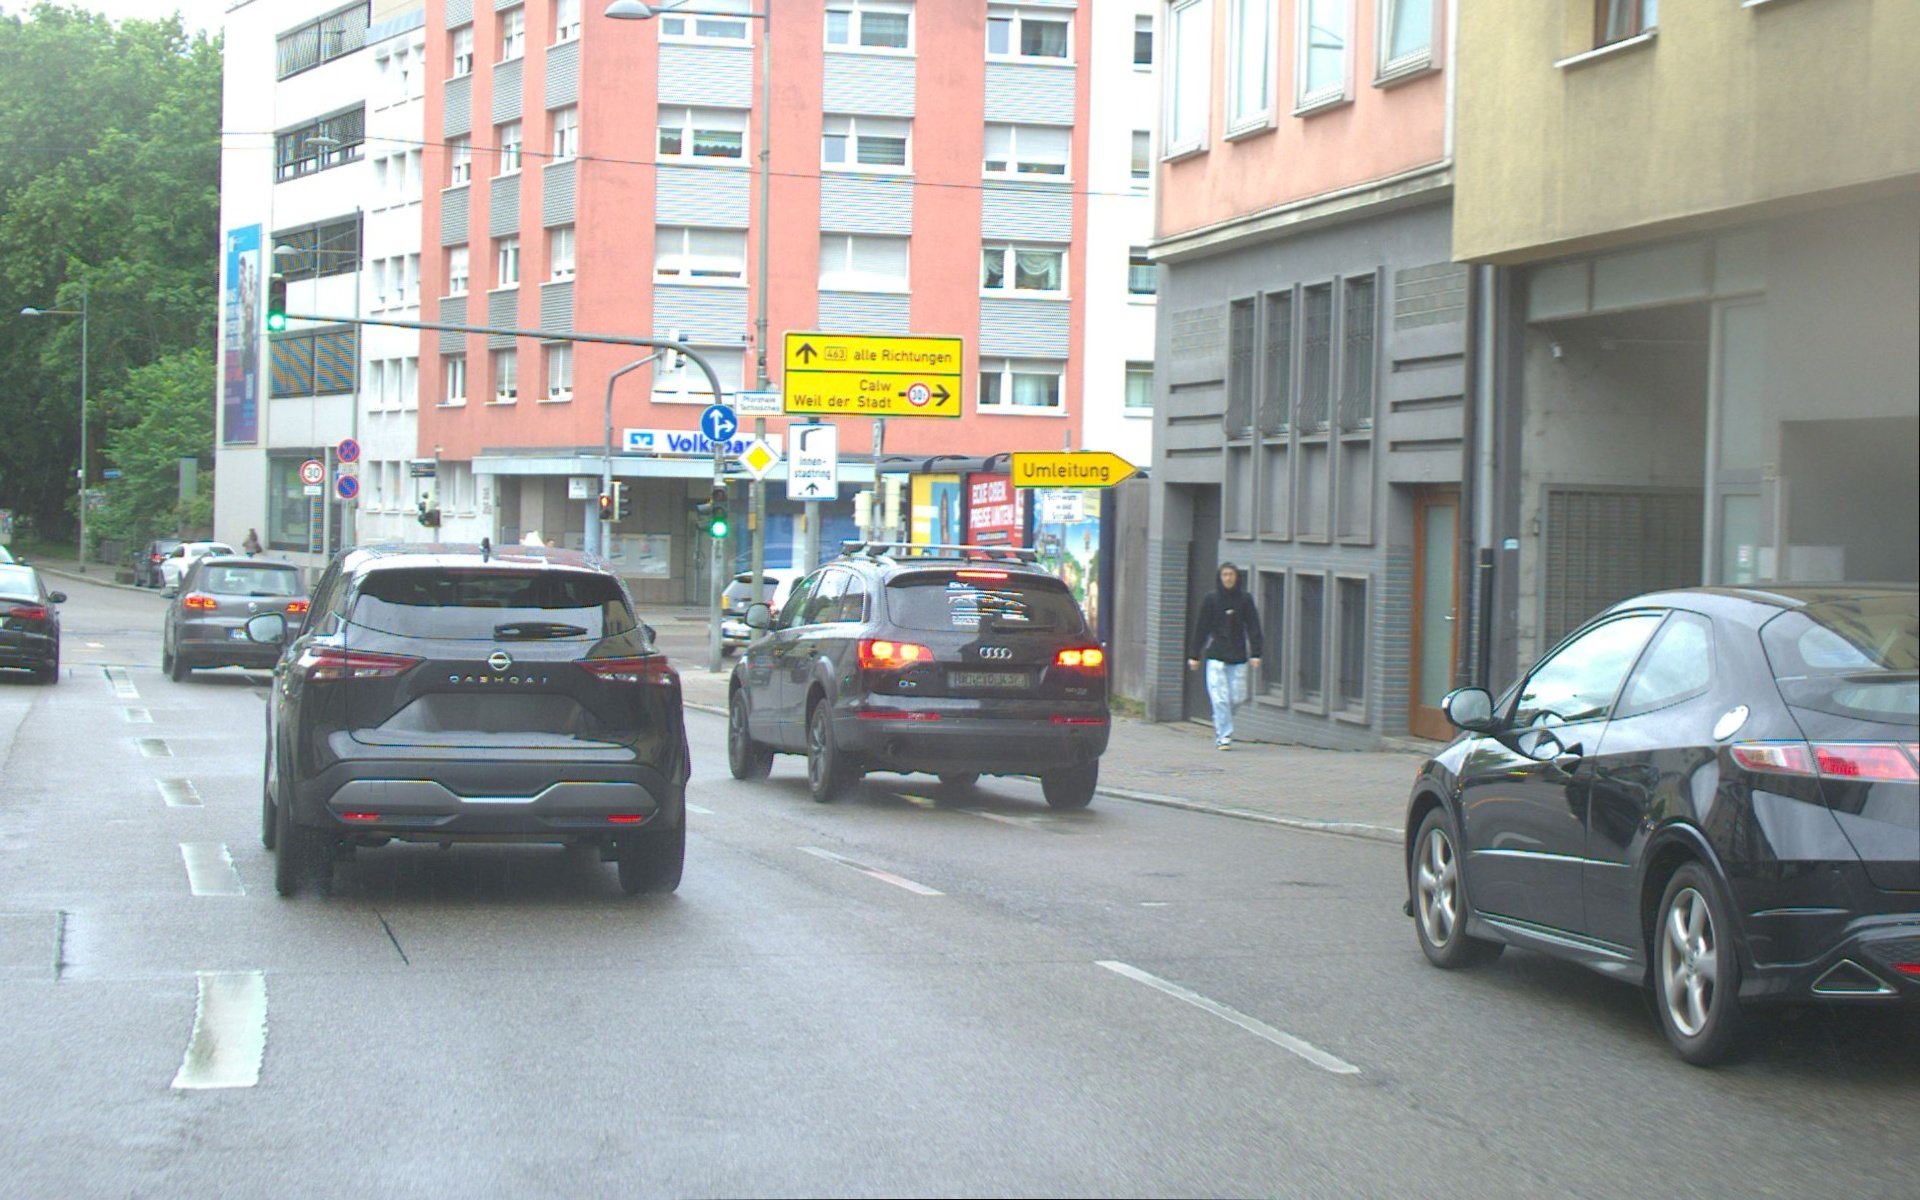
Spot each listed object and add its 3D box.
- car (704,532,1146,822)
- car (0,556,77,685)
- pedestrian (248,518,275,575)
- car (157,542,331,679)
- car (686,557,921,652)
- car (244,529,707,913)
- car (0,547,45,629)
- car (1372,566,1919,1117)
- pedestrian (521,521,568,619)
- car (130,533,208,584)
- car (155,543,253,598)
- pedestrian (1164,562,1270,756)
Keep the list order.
[{"bbox_3d":[-0.388,0.458,24.849,2.020,1.863,4.901,-1,1,-15],"label":"car"},{"bbox_3d":[-11.962,0.182,42.011,1.993,1.383,4.501,3,1,-17],"label":"car"},{"bbox_3d":[-21.414,-1.633,105.416,0.612,1.731,0.681,-1,2,-29],"label":"pedestrian"},{"bbox_3d":[-9.385,0.090,44.851,1.945,1.679,4.001,-1,1,-16],"label":"car"},{"bbox_3d":[-2.726,0.097,60.535,1.998,1.481,3.991,4,1,36],"label":"car"},{"bbox_3d":[-2.469,0.506,16.686,1.894,1.623,4.001,1,0,-12],"label":"car"},{"bbox_3d":[-19.586,-0.266,68.158,1.856,1.547,4.227,1,1,-28],"label":"car"},{"bbox_3d":[2.806,0.653,11.547,1.783,1.491,4.057,1,1,-9],"label":"car"},{"bbox_3d":[-9.363,-0.679,77.409,0.825,2.151,0.770,3,1,-16],"label":"pedestrian"},{"bbox_3d":[-23.579,-1.246,102.391,1.714,1.437,4.083,-1,2,-21],"label":"car"},{"bbox_3d":[-21.205,-0.849,96.345,1.774,1.396,4.581,-1,2,-24],"label":"car"},{"bbox_3d":[2.432,0.550,32.655,0.672,1.781,1.095,2,1,-11],"label":"pedestrian"}]
